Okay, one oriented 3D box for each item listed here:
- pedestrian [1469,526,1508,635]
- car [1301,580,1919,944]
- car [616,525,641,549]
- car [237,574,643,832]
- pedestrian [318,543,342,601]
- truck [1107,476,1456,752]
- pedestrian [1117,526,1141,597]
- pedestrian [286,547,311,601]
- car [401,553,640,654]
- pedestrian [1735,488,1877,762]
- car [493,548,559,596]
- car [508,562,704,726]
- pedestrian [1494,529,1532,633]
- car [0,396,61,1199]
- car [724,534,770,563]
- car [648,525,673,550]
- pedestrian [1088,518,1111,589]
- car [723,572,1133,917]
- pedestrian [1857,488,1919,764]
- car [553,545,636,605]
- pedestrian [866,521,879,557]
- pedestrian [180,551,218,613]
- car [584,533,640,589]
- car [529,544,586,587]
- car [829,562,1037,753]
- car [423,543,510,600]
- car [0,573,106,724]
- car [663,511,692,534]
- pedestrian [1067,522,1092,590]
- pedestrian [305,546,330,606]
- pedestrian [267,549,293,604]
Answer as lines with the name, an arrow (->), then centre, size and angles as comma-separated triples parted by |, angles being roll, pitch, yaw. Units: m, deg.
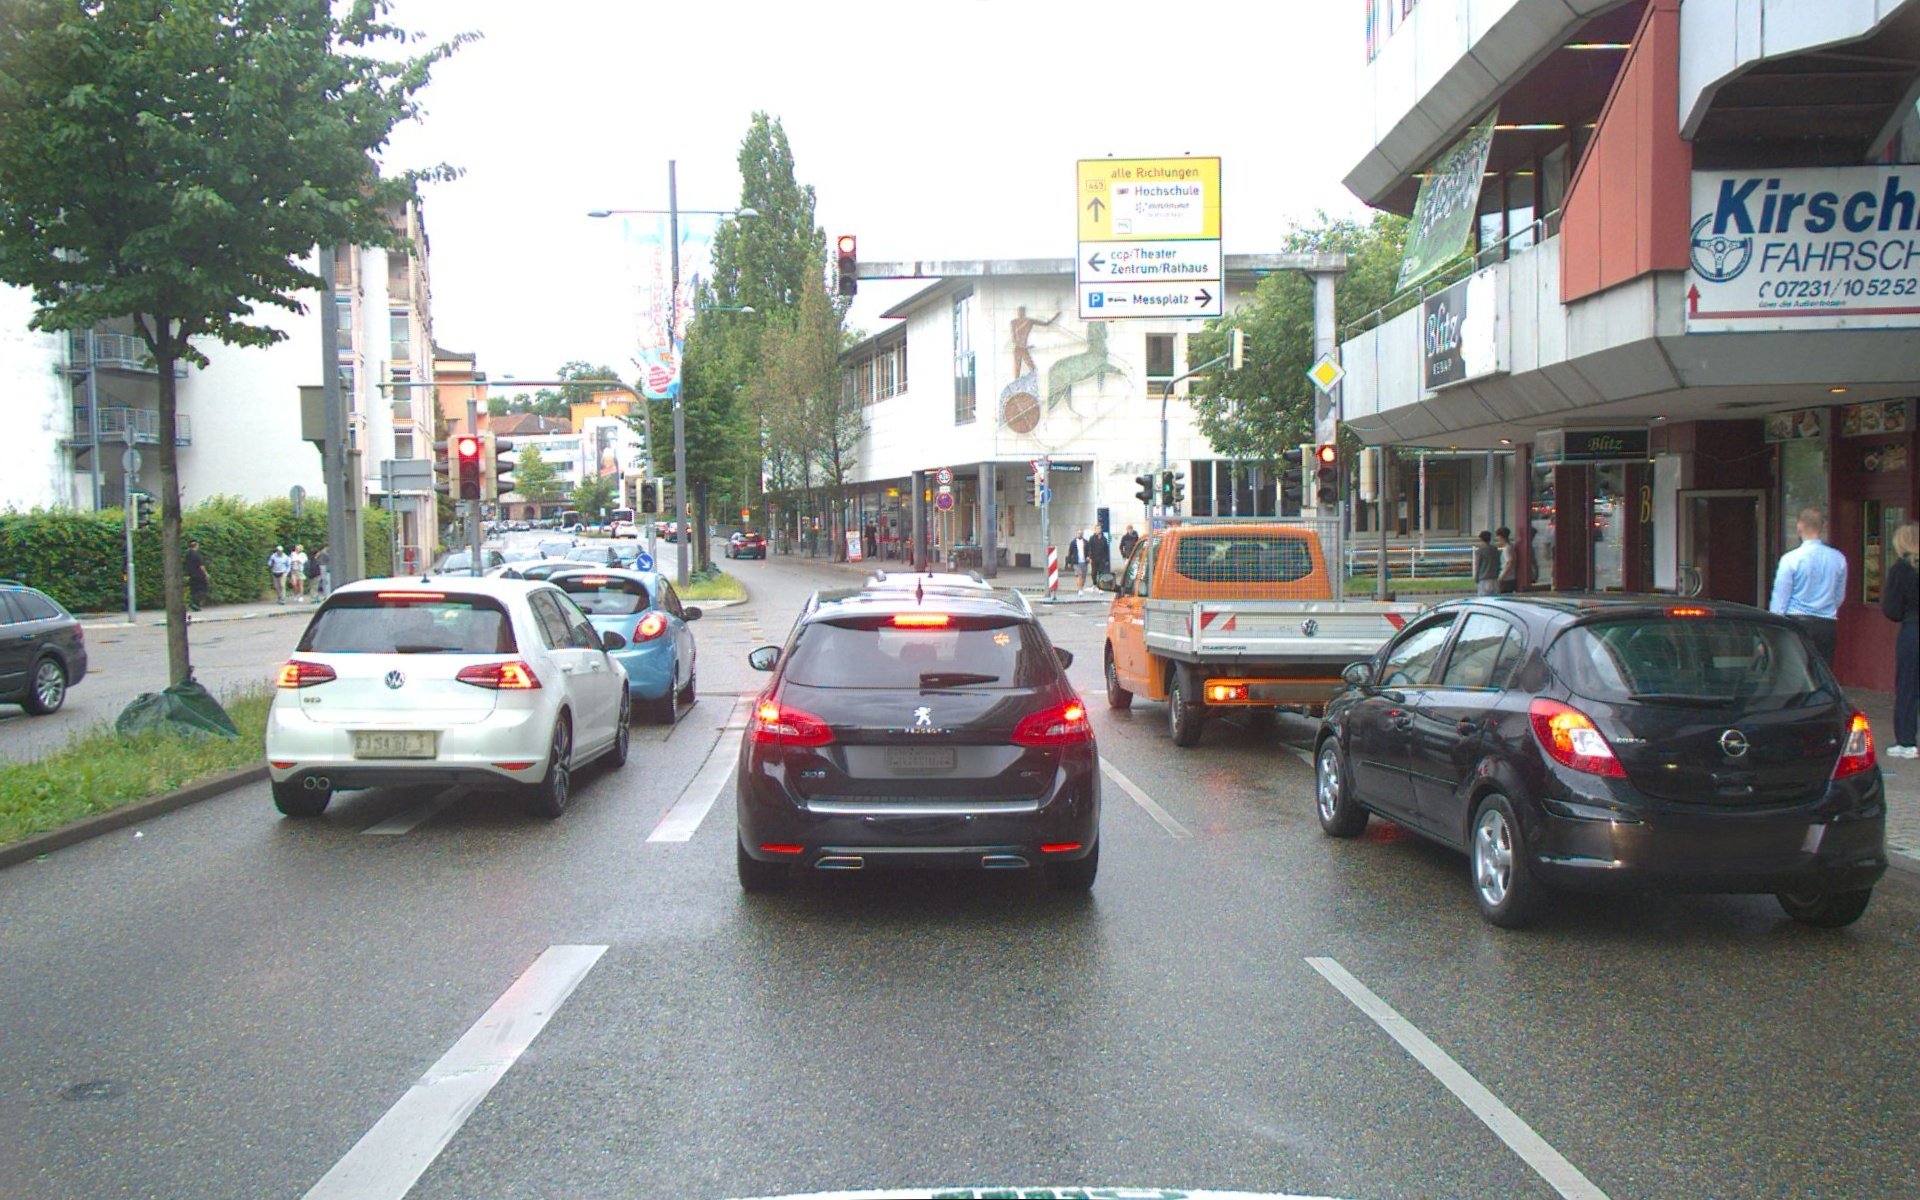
pedestrian -> 8.418, -0.300, 26.361 | 0.417, 1.712, 0.450 | -1, -1, -2
car -> 3.093, 0.646, 8.702 | 1.584, 1.454, 3.839 | 1, 1, -4
car -> -29.214, -5.542, 145.573 | 1.679, 1.915, 3.980 | 1, -1, -18
car -> -3.336, 0.562, 11.381 | 1.742, 1.454, 3.840 | 1, 1, -3
pedestrian -> -19.514, -0.862, 51.237 | 0.528, 1.778, 0.564 | 1, -1, -6
truck -> 2.829, 0.050, 15.901 | 2.133, 2.210, 5.018 | 1, 2, -3
pedestrian -> 4.682, -1.055, 45.833 | 0.623, 1.930, 0.734 | 1, -1, 6
pedestrian -> -20.286, -0.781, 50.719 | 0.569, 1.627, 0.526 | 1, -1, -7
car -> -7.523, 0.056, 28.325 | 3.693, 1.494, 1.625 | -3, -1, -25
pedestrian -> 6.253, 0.186, 12.248 | 0.721, 1.968, 0.640 | 1, -1, -1
car -> -14.274, -0.951, 54.588 | 1.602, 1.512, 3.605 | 1, 2, -7
car -> -3.611, 0.380, 17.391 | 1.601, 1.512, 3.606 | 1, 2, -6
pedestrian -> 8.951, -0.300, 26.779 | 0.388, 1.668, 0.504 | -1, -1, 0
car -> -3.043, 0.448, 1.419 | 1.873, 1.903, 5.071 | 1, -1, -2
car -> -11.959, -2.885, 92.621 | 1.759, 1.479, 4.486 | -3, 3, -17
car -> -26.638, -5.521, 146.924 | 1.679, 1.970, 3.980 | 1, -1, -18
pedestrian -> 3.882, -1.292, 46.048 | 0.623, 1.930, 0.734 | 1, -1, 6
car -> -0.139, 0.590, 9.003 | 1.741, 1.454, 3.842 | 1, 1, 0
pedestrian -> 7.140, 0.168, 12.045 | 0.721, 1.968, 0.640 | -4, -1, -1
car -> -10.502, -0.683, 47.766 | 1.710, 1.607, 3.996 | 1, -1, -4
pedestrian -> -4.398, -3.063, 83.041 | 0.461, 1.778, 0.537 | 1, -1, -21
pedestrian -> -20.581, -0.482, 44.741 | 0.624, 1.671, 0.734 | 1, -1, 2
car -> -11.425, -1.259, 54.502 | 1.713, 1.669, 3.989 | 1, -1, -11
car -> -14.724, -1.262, 60.614 | 1.602, 1.512, 3.605 | 1, 2, -7
car -> -0.253, 0.420, 15.250 | 1.662, 1.512, 3.793 | 1, 2, -1
car -> -13.709, -0.810, 46.106 | 1.543, 1.512, 3.607 | 1, 2, -4
car -> -10.741, 0.577, 16.564 | 1.599, 1.511, 4.741 | -3, 2, 4
car -> -22.250, -6.067, 130.309 | 1.697, 1.516, 4.710 | 1, -1, -17
pedestrian -> 3.195, -1.180, 44.265 | 0.623, 1.788, 0.734 | 1, -1, 6
pedestrian -> -19.330, -0.709, 49.749 | 0.529, 1.778, 0.746 | 1, -1, -9
pedestrian -> -20.356, -0.709, 49.507 | 0.569, 1.627, 0.526 | 1, -1, -7
